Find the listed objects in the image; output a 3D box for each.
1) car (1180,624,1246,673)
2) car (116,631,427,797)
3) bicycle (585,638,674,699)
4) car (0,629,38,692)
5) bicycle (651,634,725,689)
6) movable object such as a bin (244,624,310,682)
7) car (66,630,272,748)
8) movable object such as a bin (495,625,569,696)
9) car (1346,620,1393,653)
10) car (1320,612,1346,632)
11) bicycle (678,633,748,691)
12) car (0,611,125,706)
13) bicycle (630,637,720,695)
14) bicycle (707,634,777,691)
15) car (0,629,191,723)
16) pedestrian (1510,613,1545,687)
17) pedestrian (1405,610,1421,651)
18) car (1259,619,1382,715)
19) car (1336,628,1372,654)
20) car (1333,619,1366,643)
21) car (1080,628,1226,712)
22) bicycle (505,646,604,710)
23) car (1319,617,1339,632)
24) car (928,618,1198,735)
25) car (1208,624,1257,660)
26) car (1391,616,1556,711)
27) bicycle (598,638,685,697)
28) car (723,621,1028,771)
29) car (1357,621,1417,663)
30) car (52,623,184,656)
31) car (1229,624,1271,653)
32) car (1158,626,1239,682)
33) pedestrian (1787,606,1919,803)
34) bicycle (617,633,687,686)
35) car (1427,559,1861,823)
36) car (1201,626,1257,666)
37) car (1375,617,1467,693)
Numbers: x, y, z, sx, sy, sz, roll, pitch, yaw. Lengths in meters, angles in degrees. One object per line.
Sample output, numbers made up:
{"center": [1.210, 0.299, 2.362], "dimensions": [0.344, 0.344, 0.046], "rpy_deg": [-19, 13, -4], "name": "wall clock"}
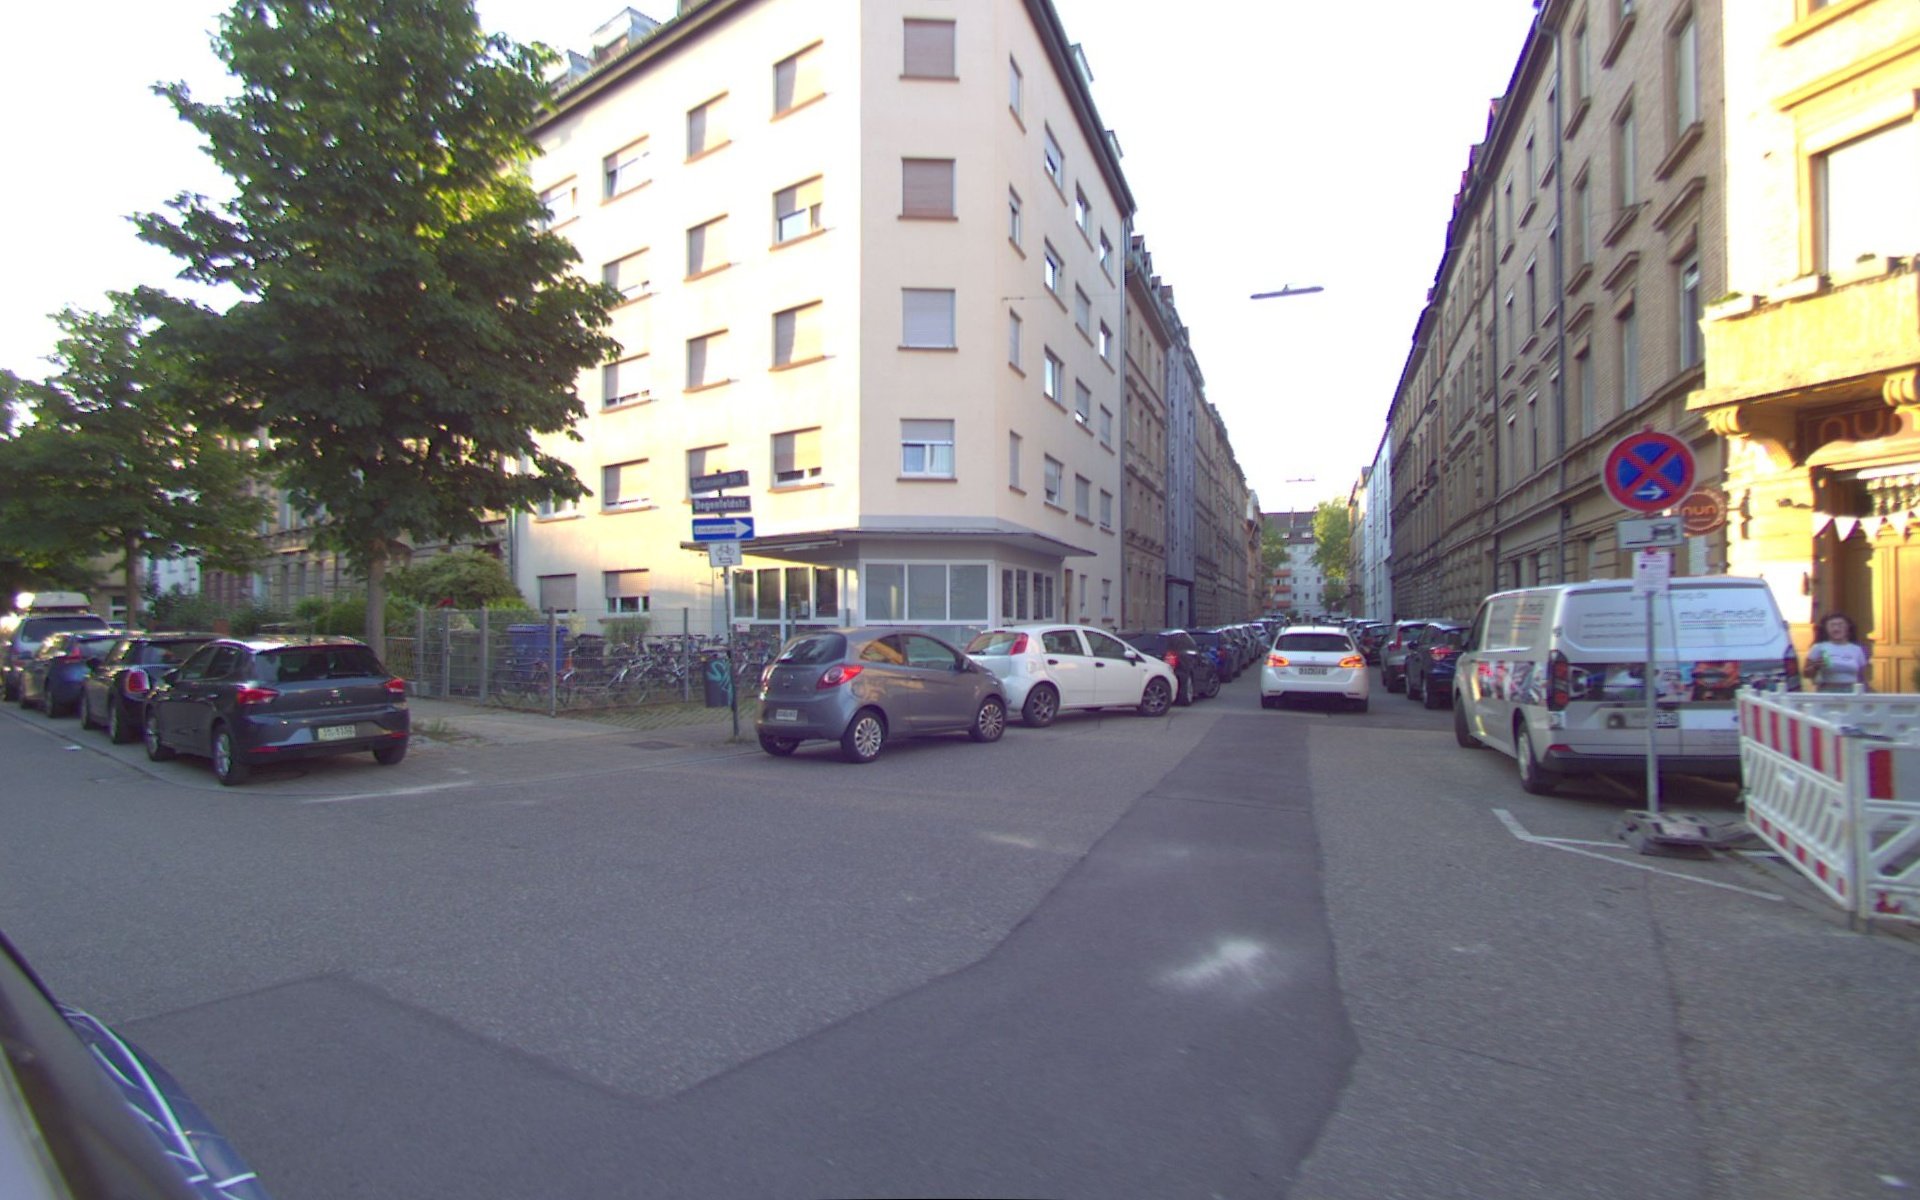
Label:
{"center": [8.229, 1.534, 32.715], "dimensions": [1.773, 1.478, 3.976], "rpy_deg": [-1, -2, 18], "name": "car"}
{"center": [-7.856, 1.115, 11.385], "dimensions": [4.458, 1.473, 1.658], "rpy_deg": [-1, -1, 39], "name": "car"}
{"center": [-6.286, 1.292, 19.269], "dimensions": [1.528, 1.100, 0.500], "rpy_deg": [-1, 0, 3], "name": "bicycle"}
{"center": [-24.418, 1.477, 25.089], "dimensions": [4.019, 1.452, 1.711], "rpy_deg": [-1, -1, 38], "name": "car"}
{"center": [-5.962, 1.324, 22.247], "dimensions": [0.499, 1.100, 1.617], "rpy_deg": [-1, 0, 34], "name": "bicycle"}
{"center": [-17.544, 1.336, 25.987], "dimensions": [1.549, 1.398, 0.937], "rpy_deg": [-1, 0, 37], "name": "movable object such as a bin"}
{"center": [-11.650, 1.183, 14.808], "dimensions": [4.142, 1.431, 1.723], "rpy_deg": [-1, -1, 43], "name": "car"}
{"center": [-8.769, 1.213, 20.722], "dimensions": [1.398, 1.362, 0.857], "rpy_deg": [-1, 0, 42], "name": "movable object such as a bin"}
{"center": [20.351, 1.807, 50.391], "dimensions": [1.875, 1.569, 3.975], "rpy_deg": [-1, -2, 18], "name": "car"}
{"center": [28.808, 1.685, 78.243], "dimensions": [1.774, 1.470, 3.974], "rpy_deg": [-1, -2, 19], "name": "car"}
{"center": [-5.297, 1.312, 21.756], "dimensions": [0.499, 1.150, 1.531], "rpy_deg": [-1, 0, 34], "name": "bicycle"}
{"center": [-19.396, 1.143, 21.380], "dimensions": [4.618, 1.792, 1.843], "rpy_deg": [-1, -1, 39], "name": "car"}
{"center": [-5.692, 1.319, 20.204], "dimensions": [1.689, 1.100, 0.385], "rpy_deg": [-1, 0, 4], "name": "bicycle"}
{"center": [-4.586, 1.299, 21.368], "dimensions": [0.499, 1.100, 1.531], "rpy_deg": [-1, 0, 34], "name": "bicycle"}
{"center": [-15.574, 1.260, 18.146], "dimensions": [4.586, 1.423, 1.843], "rpy_deg": [-1, -1, 39], "name": "car"}
{"center": [13.164, 1.155, 23.492], "dimensions": [0.589, 1.699, 0.495], "rpy_deg": [-1, 0, 18], "name": "pedestrian"}
{"center": [20.563, 1.369, 45.948], "dimensions": [0.589, 1.820, 0.495], "rpy_deg": [-1, 0, 18], "name": "pedestrian"}
{"center": [6.785, 1.149, 18.765], "dimensions": [1.810, 1.534, 4.560], "rpy_deg": [0, -2, 24], "name": "car"}
{"center": [23.157, 2.412, 59.602], "dimensions": [1.774, 1.470, 3.974], "rpy_deg": [-1, -2, 19], "name": "car"}
{"center": [24.568, 1.939, 63.957], "dimensions": [1.774, 1.470, 3.974], "rpy_deg": [-1, -2, 19], "name": "car"}
{"center": [3.892, 1.293, 19.886], "dimensions": [1.986, 1.450, 4.047], "rpy_deg": [-1, -2, 23], "name": "car"}
{"center": [-7.245, 1.369, 18.053], "dimensions": [1.927, 1.033, 0.681], "rpy_deg": [-1, 0, 35], "name": "bicycle"}
{"center": [36.830, 2.480, 100.997], "dimensions": [1.774, 1.470, 3.974], "rpy_deg": [-1, -2, 19], "name": "car"}
{"center": [1.695, 1.100, 16.085], "dimensions": [4.007, 1.520, 1.978], "rpy_deg": [-1, 0, -38], "name": "car"}
{"center": [11.511, 1.749, 42.646], "dimensions": [1.808, 1.418, 3.976], "rpy_deg": [-1, -2, 18], "name": "car"}
{"center": [9.535, 1.135, 19.145], "dimensions": [2.005, 1.583, 3.899], "rpy_deg": [-1, -2, 16], "name": "car"}
{"center": [-6.212, 1.311, 19.784], "dimensions": [1.528, 1.100, 0.500], "rpy_deg": [-1, 0, 3], "name": "bicycle"}
{"center": [-0.929, 1.049, 12.454], "dimensions": [1.843, 1.519, 3.471], "rpy_deg": [-2, -2, 39], "name": "car"}
{"center": [15.671, 1.515, 37.314], "dimensions": [1.774, 1.470, 3.974], "rpy_deg": [-1, -2, 19], "name": "car"}
{"center": [-37.807, 1.726, 45.535], "dimensions": [1.625, 1.351, 4.356], "rpy_deg": [-1, -1, 41], "name": "car"}
{"center": [14.699, 1.916, 51.203], "dimensions": [1.914, 1.418, 3.976], "rpy_deg": [-1, -2, 18], "name": "car"}
{"center": [6.645, 1.465, 27.947], "dimensions": [1.859, 1.419, 3.976], "rpy_deg": [-1, -2, 18], "name": "car"}
{"center": [7.860, 0.879, 8.915], "dimensions": [0.708, 1.630, 0.779], "rpy_deg": [-1, 0, 27], "name": "pedestrian"}
{"center": [-6.965, 1.338, 22.924], "dimensions": [0.499, 1.100, 1.531], "rpy_deg": [-1, 0, 34], "name": "bicycle"}
{"center": [6.479, 0.759, 10.504], "dimensions": [2.189, 1.990, 5.265], "rpy_deg": [-1, -2, 17], "name": "car"}
{"center": [10.064, 1.678, 37.640], "dimensions": [1.808, 1.418, 3.976], "rpy_deg": [-1, -2, 18], "name": "car"}
{"center": [10.760, 1.246, 23.831], "dimensions": [1.572, 1.635, 3.974], "rpy_deg": [-1, -2, 19], "name": "car"}
